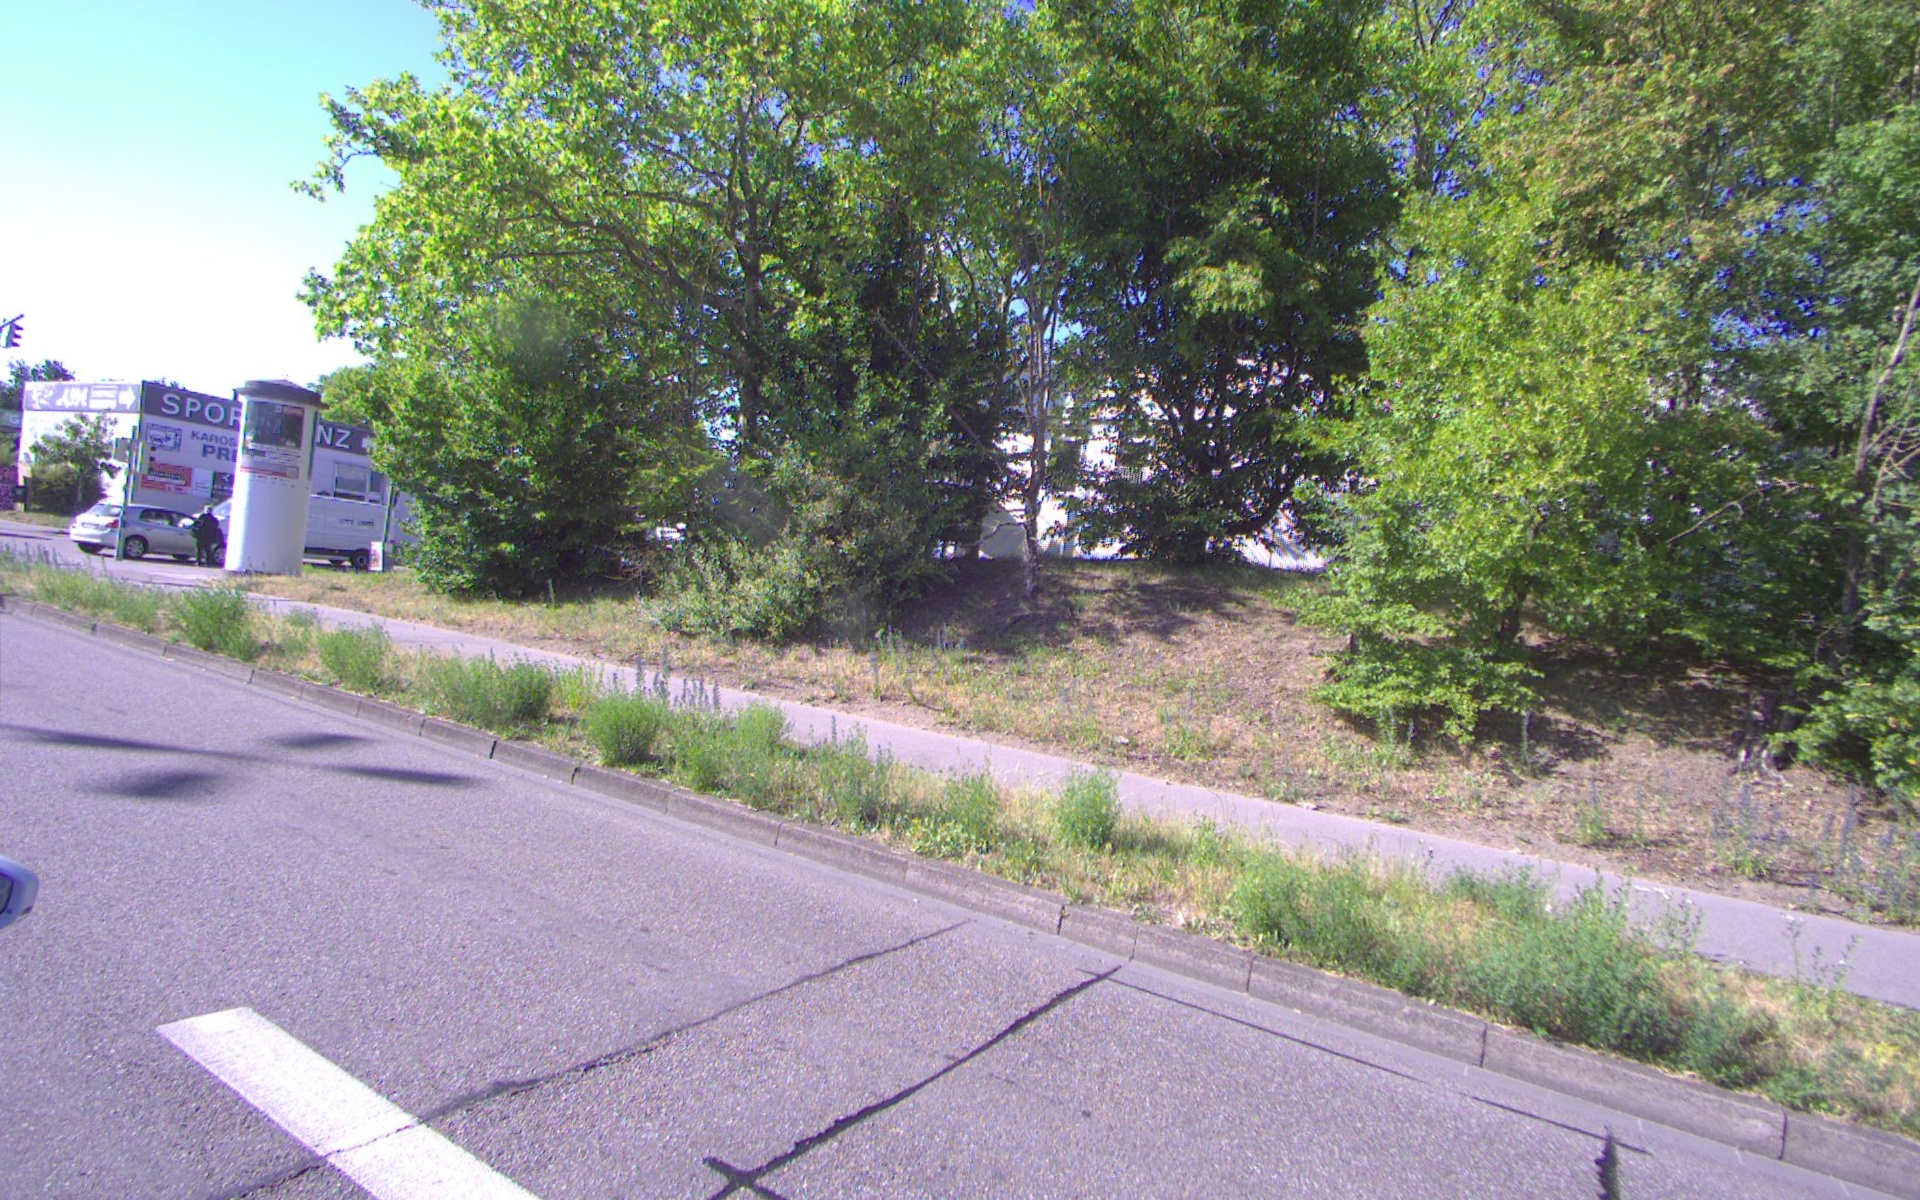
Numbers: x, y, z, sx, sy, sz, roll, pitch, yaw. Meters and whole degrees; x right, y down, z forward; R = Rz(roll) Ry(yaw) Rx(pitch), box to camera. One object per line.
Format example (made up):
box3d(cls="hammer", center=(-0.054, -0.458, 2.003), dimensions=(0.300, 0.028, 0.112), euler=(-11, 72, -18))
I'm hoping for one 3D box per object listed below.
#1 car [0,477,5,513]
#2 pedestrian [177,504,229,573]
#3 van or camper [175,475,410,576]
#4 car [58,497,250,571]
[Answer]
box3d(cls="car", center=(-48.287, -5.353, 47.681), dimensions=(1.663, 1.726, 4.003), euler=(7, -1, 16))
box3d(cls="pedestrian", center=(-20.991, -1.699, 27.881), dimensions=(0.841, 1.743, 0.822), euler=(7, 0, 39))
box3d(cls="van or camper", center=(-24.298, -2.622, 37.041), dimensions=(2.148, 2.603, 6.744), euler=(7, -1, 31))
box3d(cls="car", center=(-23.275, -1.865, 29.249), dimensions=(1.708, 1.494, 3.994), euler=(7, -1, 17))
